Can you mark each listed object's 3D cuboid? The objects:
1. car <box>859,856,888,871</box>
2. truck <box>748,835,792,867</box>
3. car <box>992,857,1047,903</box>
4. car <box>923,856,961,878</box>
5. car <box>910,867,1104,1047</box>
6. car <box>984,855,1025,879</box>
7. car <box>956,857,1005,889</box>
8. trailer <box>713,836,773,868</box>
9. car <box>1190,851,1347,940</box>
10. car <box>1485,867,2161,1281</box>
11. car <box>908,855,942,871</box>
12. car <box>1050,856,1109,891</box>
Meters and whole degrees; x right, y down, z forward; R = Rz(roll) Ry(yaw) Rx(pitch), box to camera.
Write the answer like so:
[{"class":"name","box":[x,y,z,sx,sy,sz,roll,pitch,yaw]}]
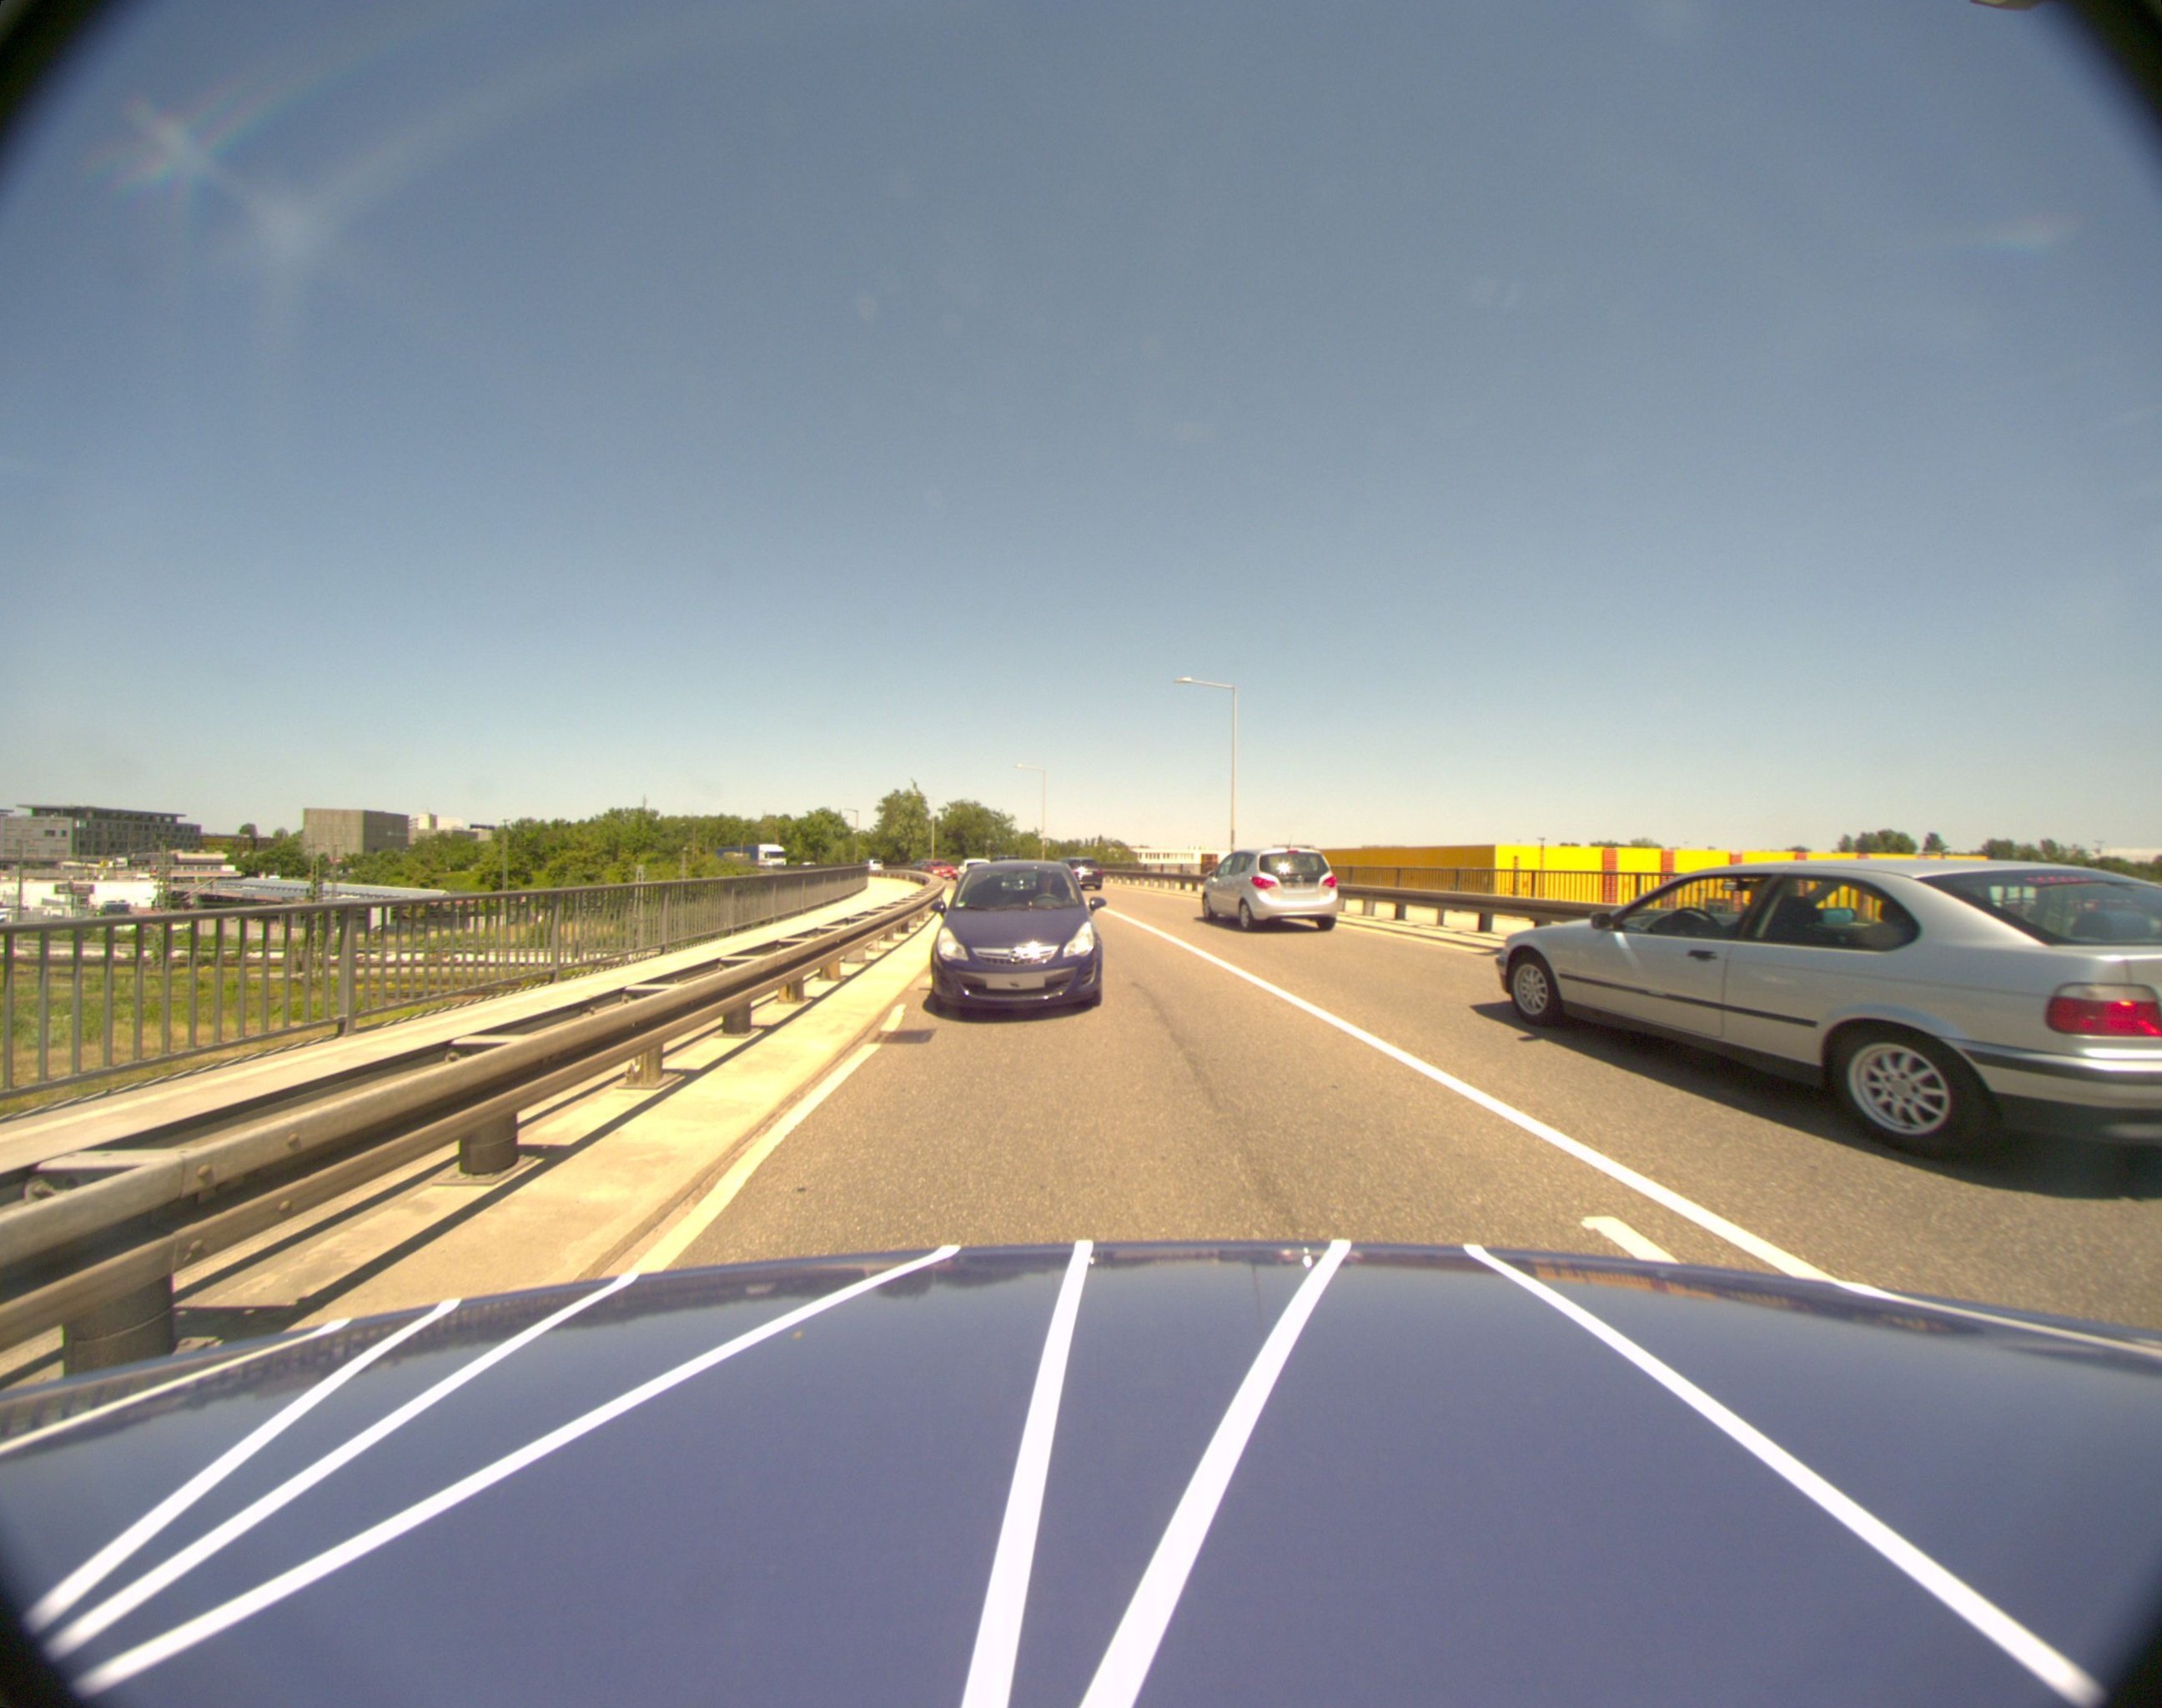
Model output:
[{"class":"car","box":[-23.409,1.079,85.683,1.702,1.598,3.989,-1,0,-37]},{"class":"truck","box":[-42.122,-0.372,102.689,6.820,4.204,2.702,-1,2,43]},{"class":"car","box":[-2.284,0.882,27.609,1.795,1.446,4.520,-2,0,-6]},{"class":"car","box":[-9.738,0.878,53.007,1.797,1.447,4.515,-1,1,-21]},{"class":"car","box":[-0.696,0.935,8.636,1.645,1.431,3.999,-2,0,-2]},{"class":"car","box":[-5.367,0.880,52.979,1.779,1.616,4.246,-1,0,-20]},{"class":"car","box":[-5.160,0.924,38.388,1.796,1.446,4.517,-2,0,-16]},{"class":"trailer","box":[-48.276,-0.208,108.313,12.677,4.210,2.707,-1,2,42]},{"class":"car","box":[3.682,0.735,15.734,1.742,1.570,4.173,-1,0,-7]},{"class":"car","box":[4.526,0.822,4.756,1.702,1.368,3.998,-1,0,-3]},{"class":"car","box":[-14.722,0.823,71.368,1.784,1.499,4.183,-1,0,-32]},{"class":"car","box":[-0.155,0.811,33.856,1.778,1.430,4.387,-1,0,-12]}]
